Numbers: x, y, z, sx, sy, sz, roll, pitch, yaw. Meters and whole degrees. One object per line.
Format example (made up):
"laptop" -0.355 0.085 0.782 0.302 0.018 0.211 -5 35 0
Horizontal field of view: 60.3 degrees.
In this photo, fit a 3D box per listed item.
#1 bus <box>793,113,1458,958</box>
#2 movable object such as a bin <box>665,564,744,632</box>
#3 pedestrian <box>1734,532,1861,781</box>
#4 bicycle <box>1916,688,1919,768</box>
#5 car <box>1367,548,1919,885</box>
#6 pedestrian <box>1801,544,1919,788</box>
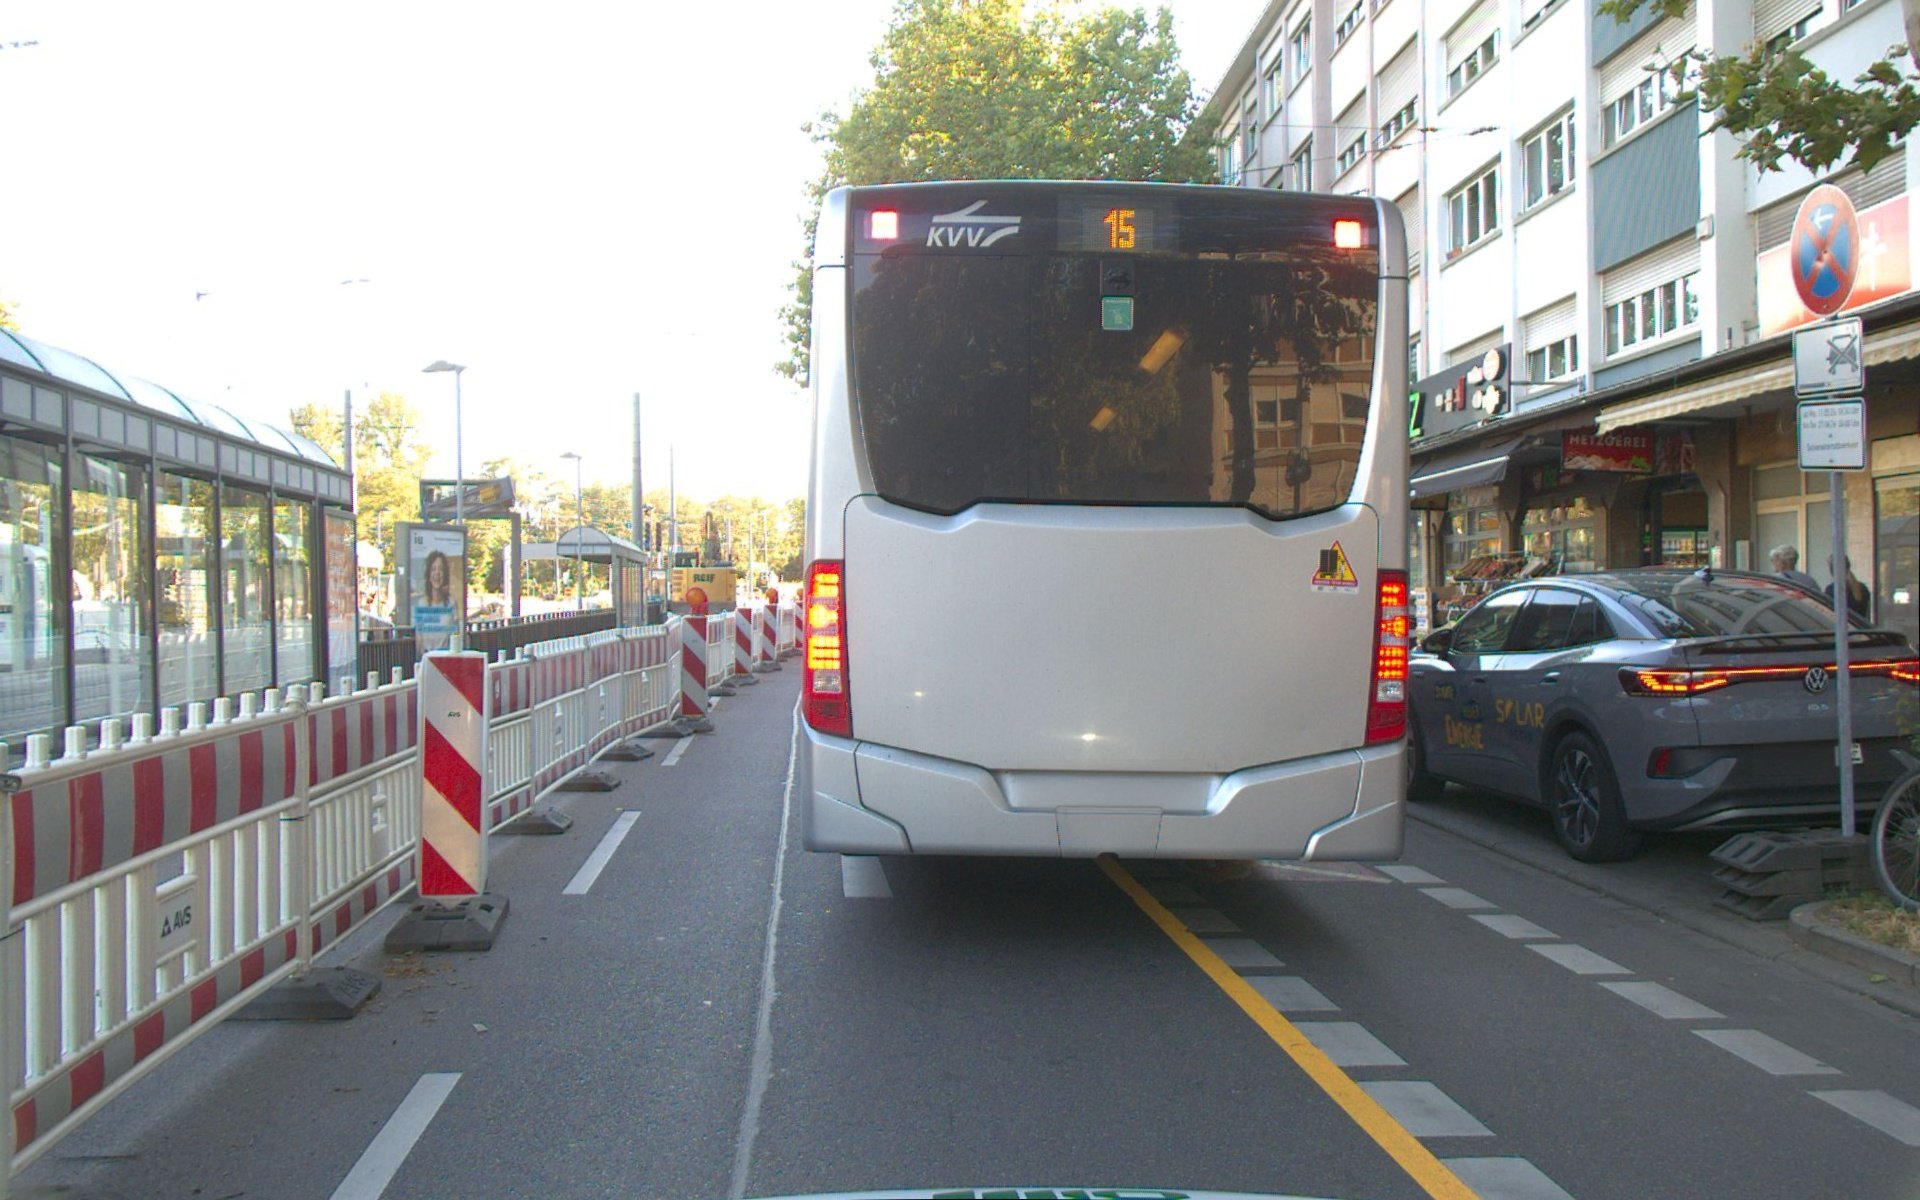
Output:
"bus" 0.573 -0.250 11.488 2.555 3.225 10.289 0 0 -1
"movable object such as a bin" -9.792 -0.084 63.666 2.752 2.505 3.995 -1 0 -6
"pedestrian" 7.104 0.463 14.052 0.677 2.049 0.695 -1 0 -7
"bicycle" 4.275 0.849 6.401 0.289 0.943 1.128 -5 3 -11
"car" 4.183 0.571 10.548 1.706 1.625 4.294 -3 0 -5
"pedestrian" 7.799 0.556 14.338 0.601 2.049 0.695 -1 0 -7
